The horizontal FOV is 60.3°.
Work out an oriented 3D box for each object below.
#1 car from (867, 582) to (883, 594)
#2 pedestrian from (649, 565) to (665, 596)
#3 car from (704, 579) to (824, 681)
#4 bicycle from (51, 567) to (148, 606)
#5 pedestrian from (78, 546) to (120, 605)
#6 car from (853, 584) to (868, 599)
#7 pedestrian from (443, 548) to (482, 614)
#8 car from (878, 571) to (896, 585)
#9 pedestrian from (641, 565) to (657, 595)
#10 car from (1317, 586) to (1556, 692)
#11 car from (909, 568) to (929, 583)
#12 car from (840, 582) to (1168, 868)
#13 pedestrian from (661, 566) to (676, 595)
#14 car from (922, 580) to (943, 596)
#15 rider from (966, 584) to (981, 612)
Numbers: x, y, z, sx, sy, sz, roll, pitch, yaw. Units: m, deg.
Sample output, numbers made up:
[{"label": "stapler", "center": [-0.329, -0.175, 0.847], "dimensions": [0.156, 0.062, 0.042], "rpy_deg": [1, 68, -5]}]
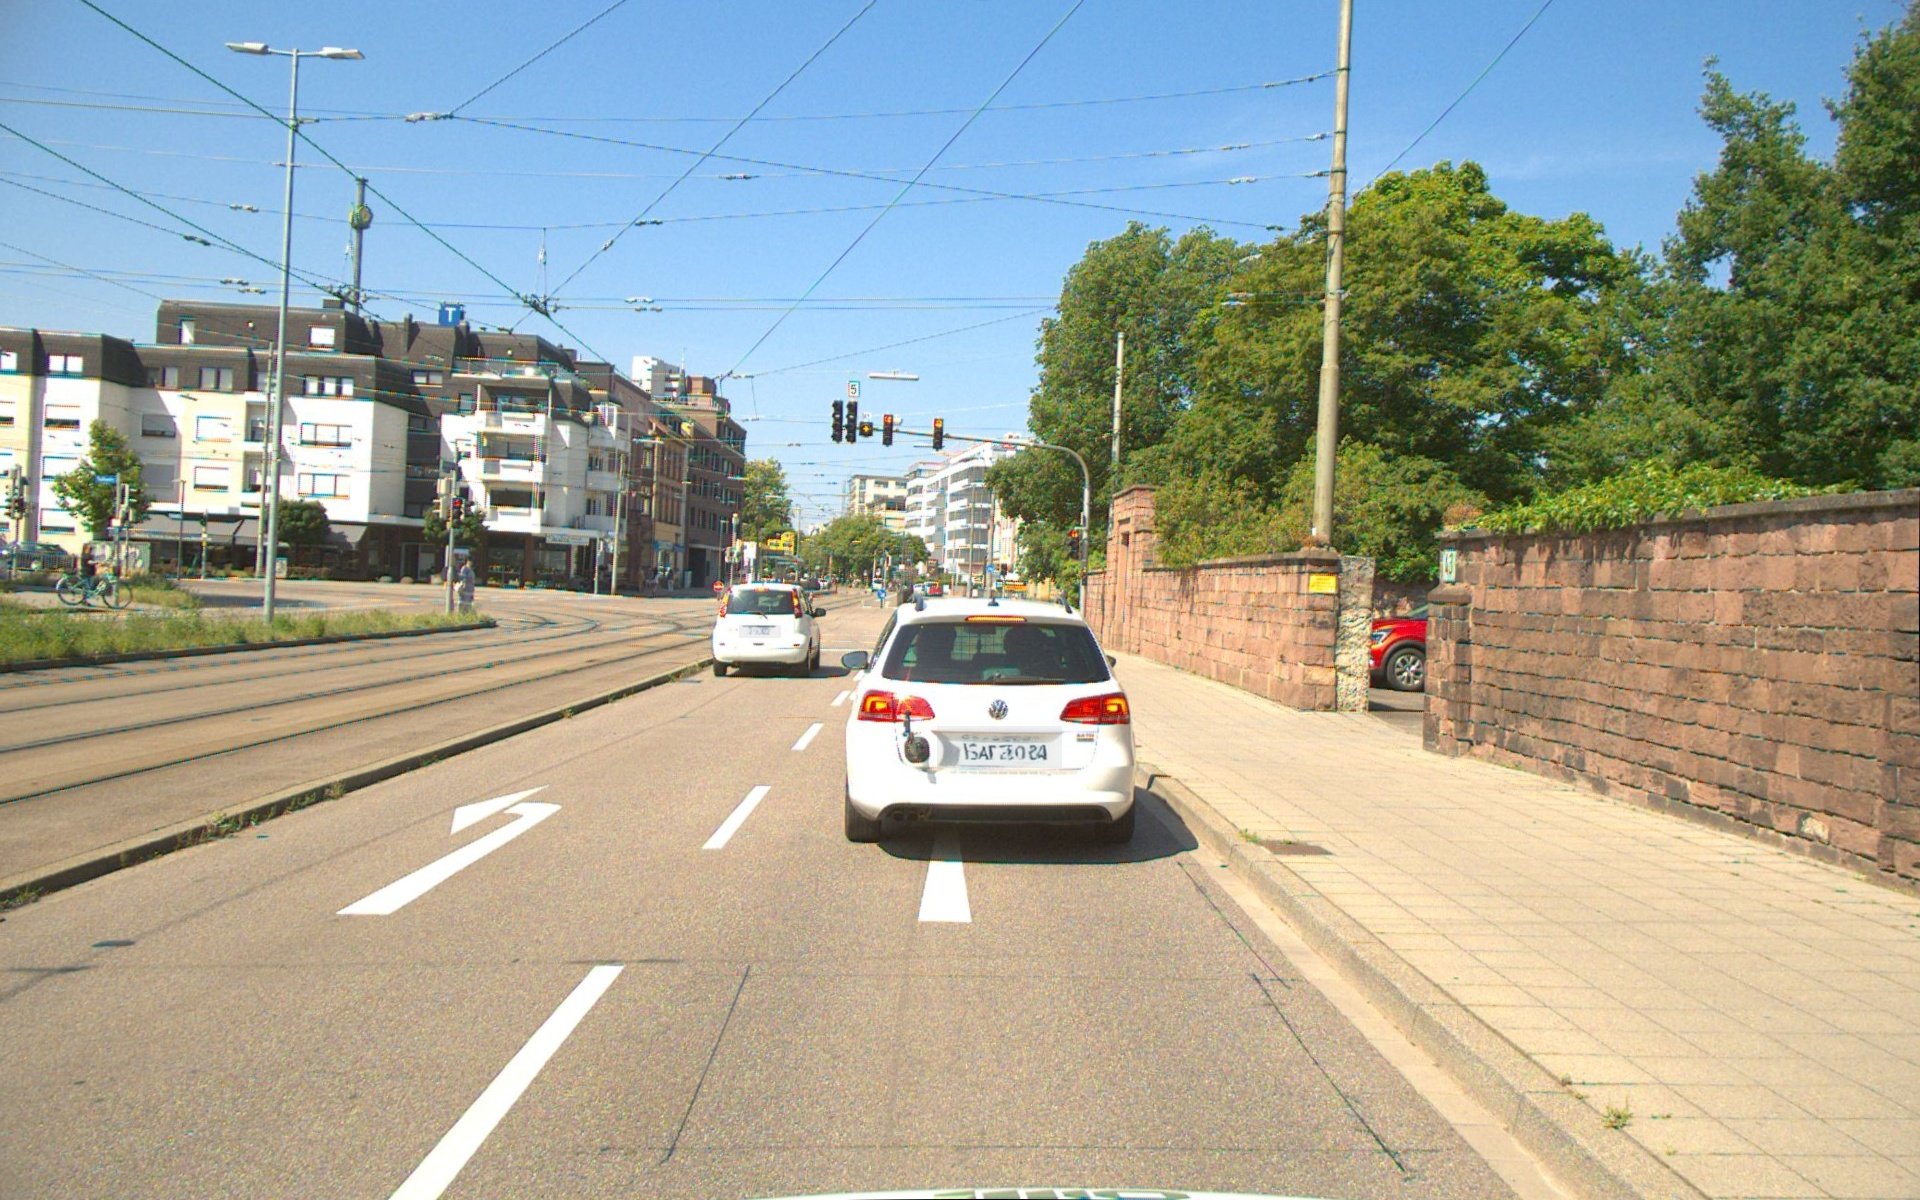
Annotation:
[{"label": "car", "center": [-11.882, -1.658, 231.384], "dimensions": [1.668, 1.619, 3.525], "rpy_deg": [2, 0, -11]}, {"label": "pedestrian", "center": [-20.668, -1.341, 112.896], "dimensions": [0.919, 2.049, 0.989], "rpy_deg": [2, 0, -7]}, {"label": "car", "center": [-3.409, 0.480, 29.426], "dimensions": [1.695, 1.624, 4.010], "rpy_deg": [2, 0, -2]}, {"label": "bicycle", "center": [-22.362, -0.352, 43.026], "dimensions": [2.159, 0.937, 0.545], "rpy_deg": [2, 0, -43]}, {"label": "pedestrian", "center": [-22.651, -0.656, 43.509], "dimensions": [0.809, 1.513, 0.557], "rpy_deg": [2, 0, -43]}, {"label": "car", "center": [-11.758, -1.010, 196.129], "dimensions": [1.664, 1.619, 3.533], "rpy_deg": [2, 0, -2]}, {"label": "pedestrian", "center": [-13.595, -0.524, 45.214], "dimensions": [0.811, 1.769, 0.930], "rpy_deg": [2, 0, -9]}, {"label": "car", "center": [-11.395, -3.483, 258.688], "dimensions": [1.961, 2.049, 3.984], "rpy_deg": [2, 0, -15]}, {"label": "pedestrian", "center": [-21.497, -1.370, 114.398], "dimensions": [0.918, 2.049, 0.989], "rpy_deg": [2, 0, -6]}, {"label": "car", "center": [7.572, 0.601, 26.457], "dimensions": [3.338, 1.489, 1.524], "rpy_deg": [3, 0, -1]}, {"label": "car", "center": [-5.849, -3.587, 237.121], "dimensions": [1.960, 2.048, 3.985], "rpy_deg": [2, 0, -14]}, {"label": "car", "center": [0.235, 0.658, 10.827], "dimensions": [1.742, 1.516, 3.846], "rpy_deg": [1, 0, 0]}, {"label": "pedestrian", "center": [-20.876, -1.383, 118.379], "dimensions": [0.919, 2.049, 0.989], "rpy_deg": [2, 0, -6]}, {"label": "car", "center": [-3.750, -1.624, 222.982], "dimensions": [1.960, 2.048, 3.985], "rpy_deg": [2, 0, -14]}, {"label": "rider", "center": [0.874, -0.140, 109.579], "dimensions": [0.873, 1.758, 2.203], "rpy_deg": [2, 0, 0]}]
